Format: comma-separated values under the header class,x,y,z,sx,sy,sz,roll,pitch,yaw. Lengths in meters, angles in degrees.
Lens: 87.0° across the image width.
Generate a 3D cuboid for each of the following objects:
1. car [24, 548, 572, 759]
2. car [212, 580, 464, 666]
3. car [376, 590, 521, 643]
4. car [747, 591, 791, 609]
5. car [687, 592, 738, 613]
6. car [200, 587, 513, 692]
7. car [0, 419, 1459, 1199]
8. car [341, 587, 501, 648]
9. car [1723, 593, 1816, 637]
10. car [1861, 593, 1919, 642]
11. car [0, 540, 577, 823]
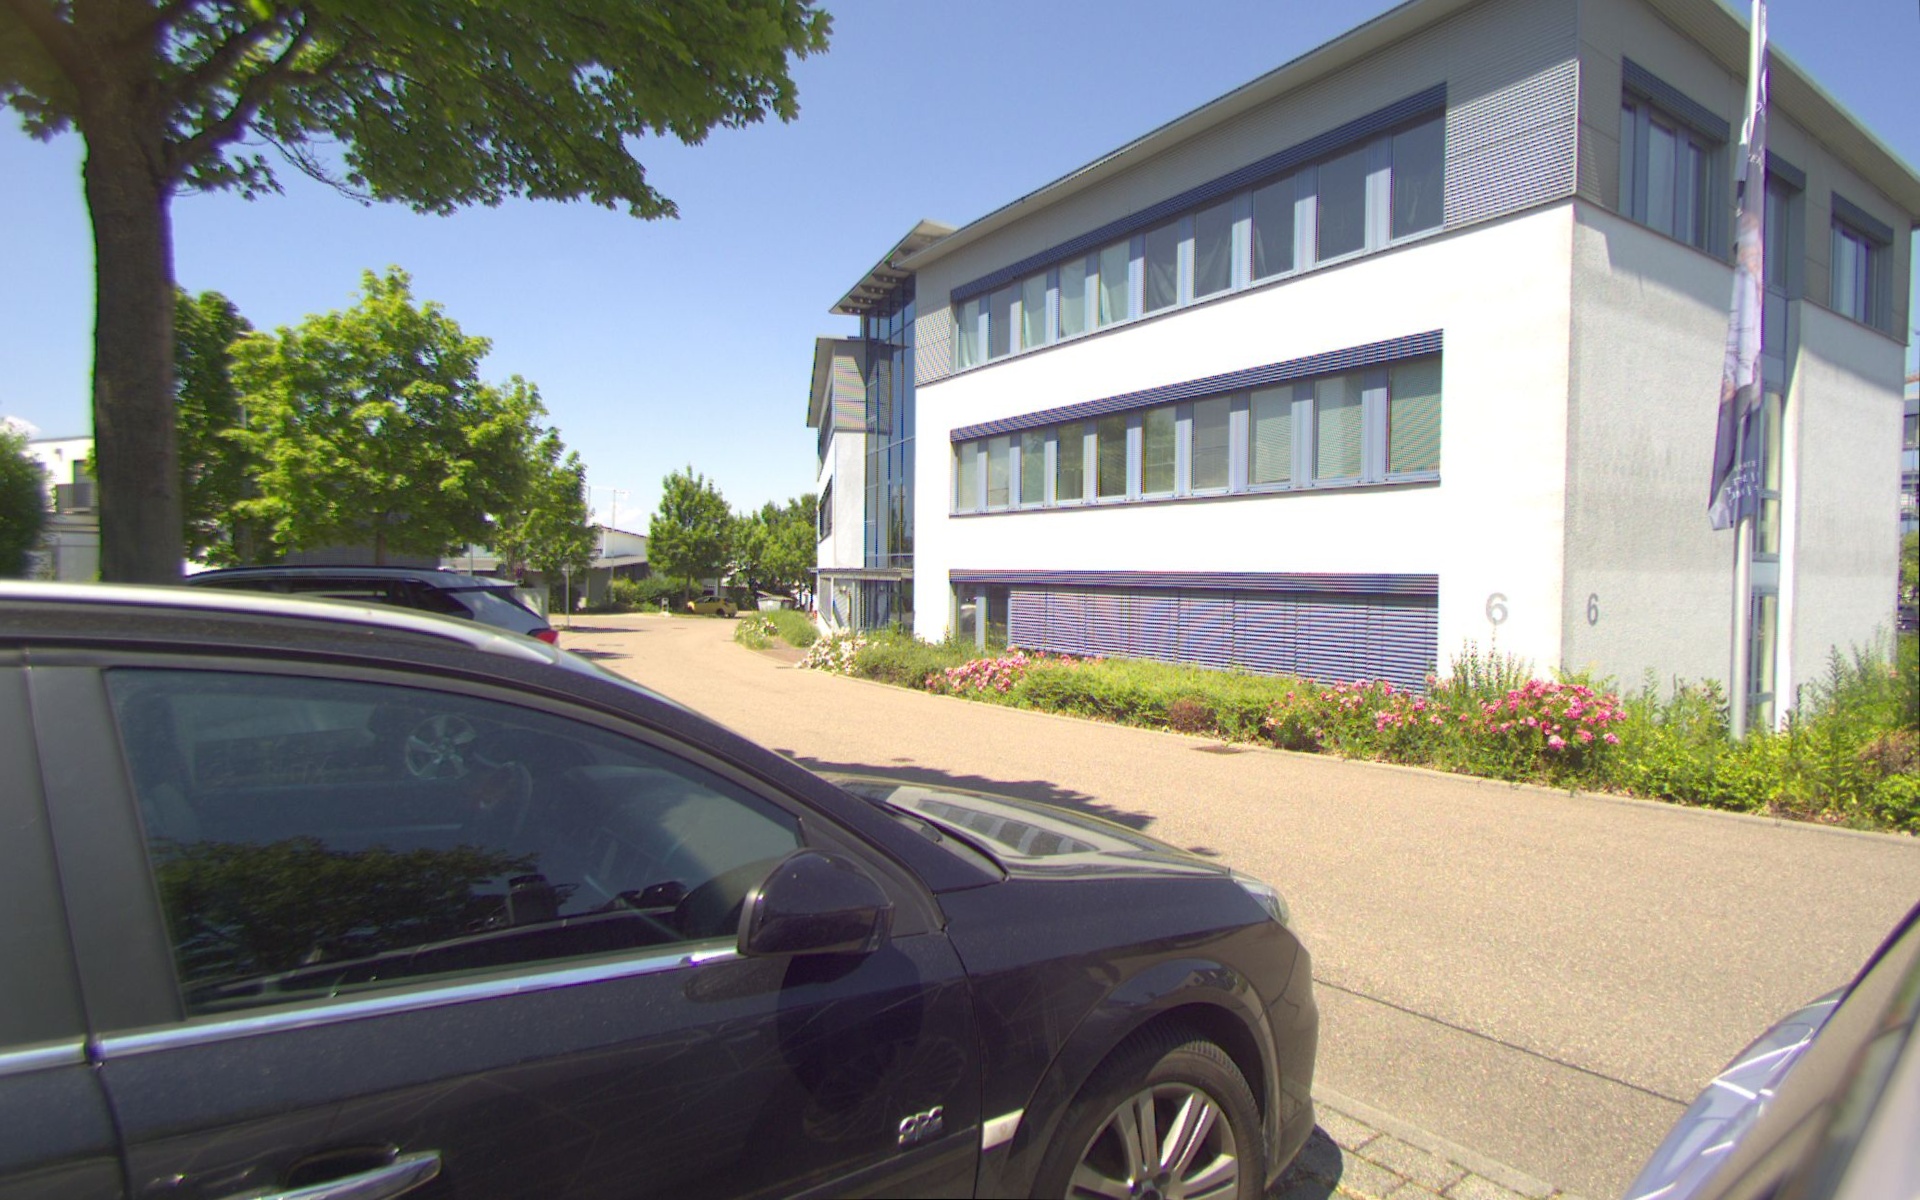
class,x,y,z,sx,sy,sz,roll,pitch,yaw
car,-6.146,0.456,9.859,4.122,1.664,1.661,1,-1,-35
car,-12.514,0.480,20.664,4.090,1.625,1.664,1,-1,-21
car,-14.806,0.483,29.494,3.514,1.461,1.639,1,-1,-17
car,-15.555,0.000,82.311,3.172,1.460,1.580,0,0,18
car,-17.390,0.168,71.107,3.172,1.460,1.580,0,0,18
car,-9.449,0.596,16.204,4.092,1.505,1.663,1,-1,-27
car,-1.085,0.615,1.844,4.480,1.569,1.763,0,0,-37
car,-14.357,0.477,27.145,3.514,1.545,1.639,1,-1,-17
car,30.289,0.522,37.840,3.925,1.565,1.788,-1,1,-36
car,32.547,0.546,34.618,3.925,1.565,1.788,-1,1,-36
car,-5.234,0.492,7.356,4.249,1.664,1.857,1,-1,-35
